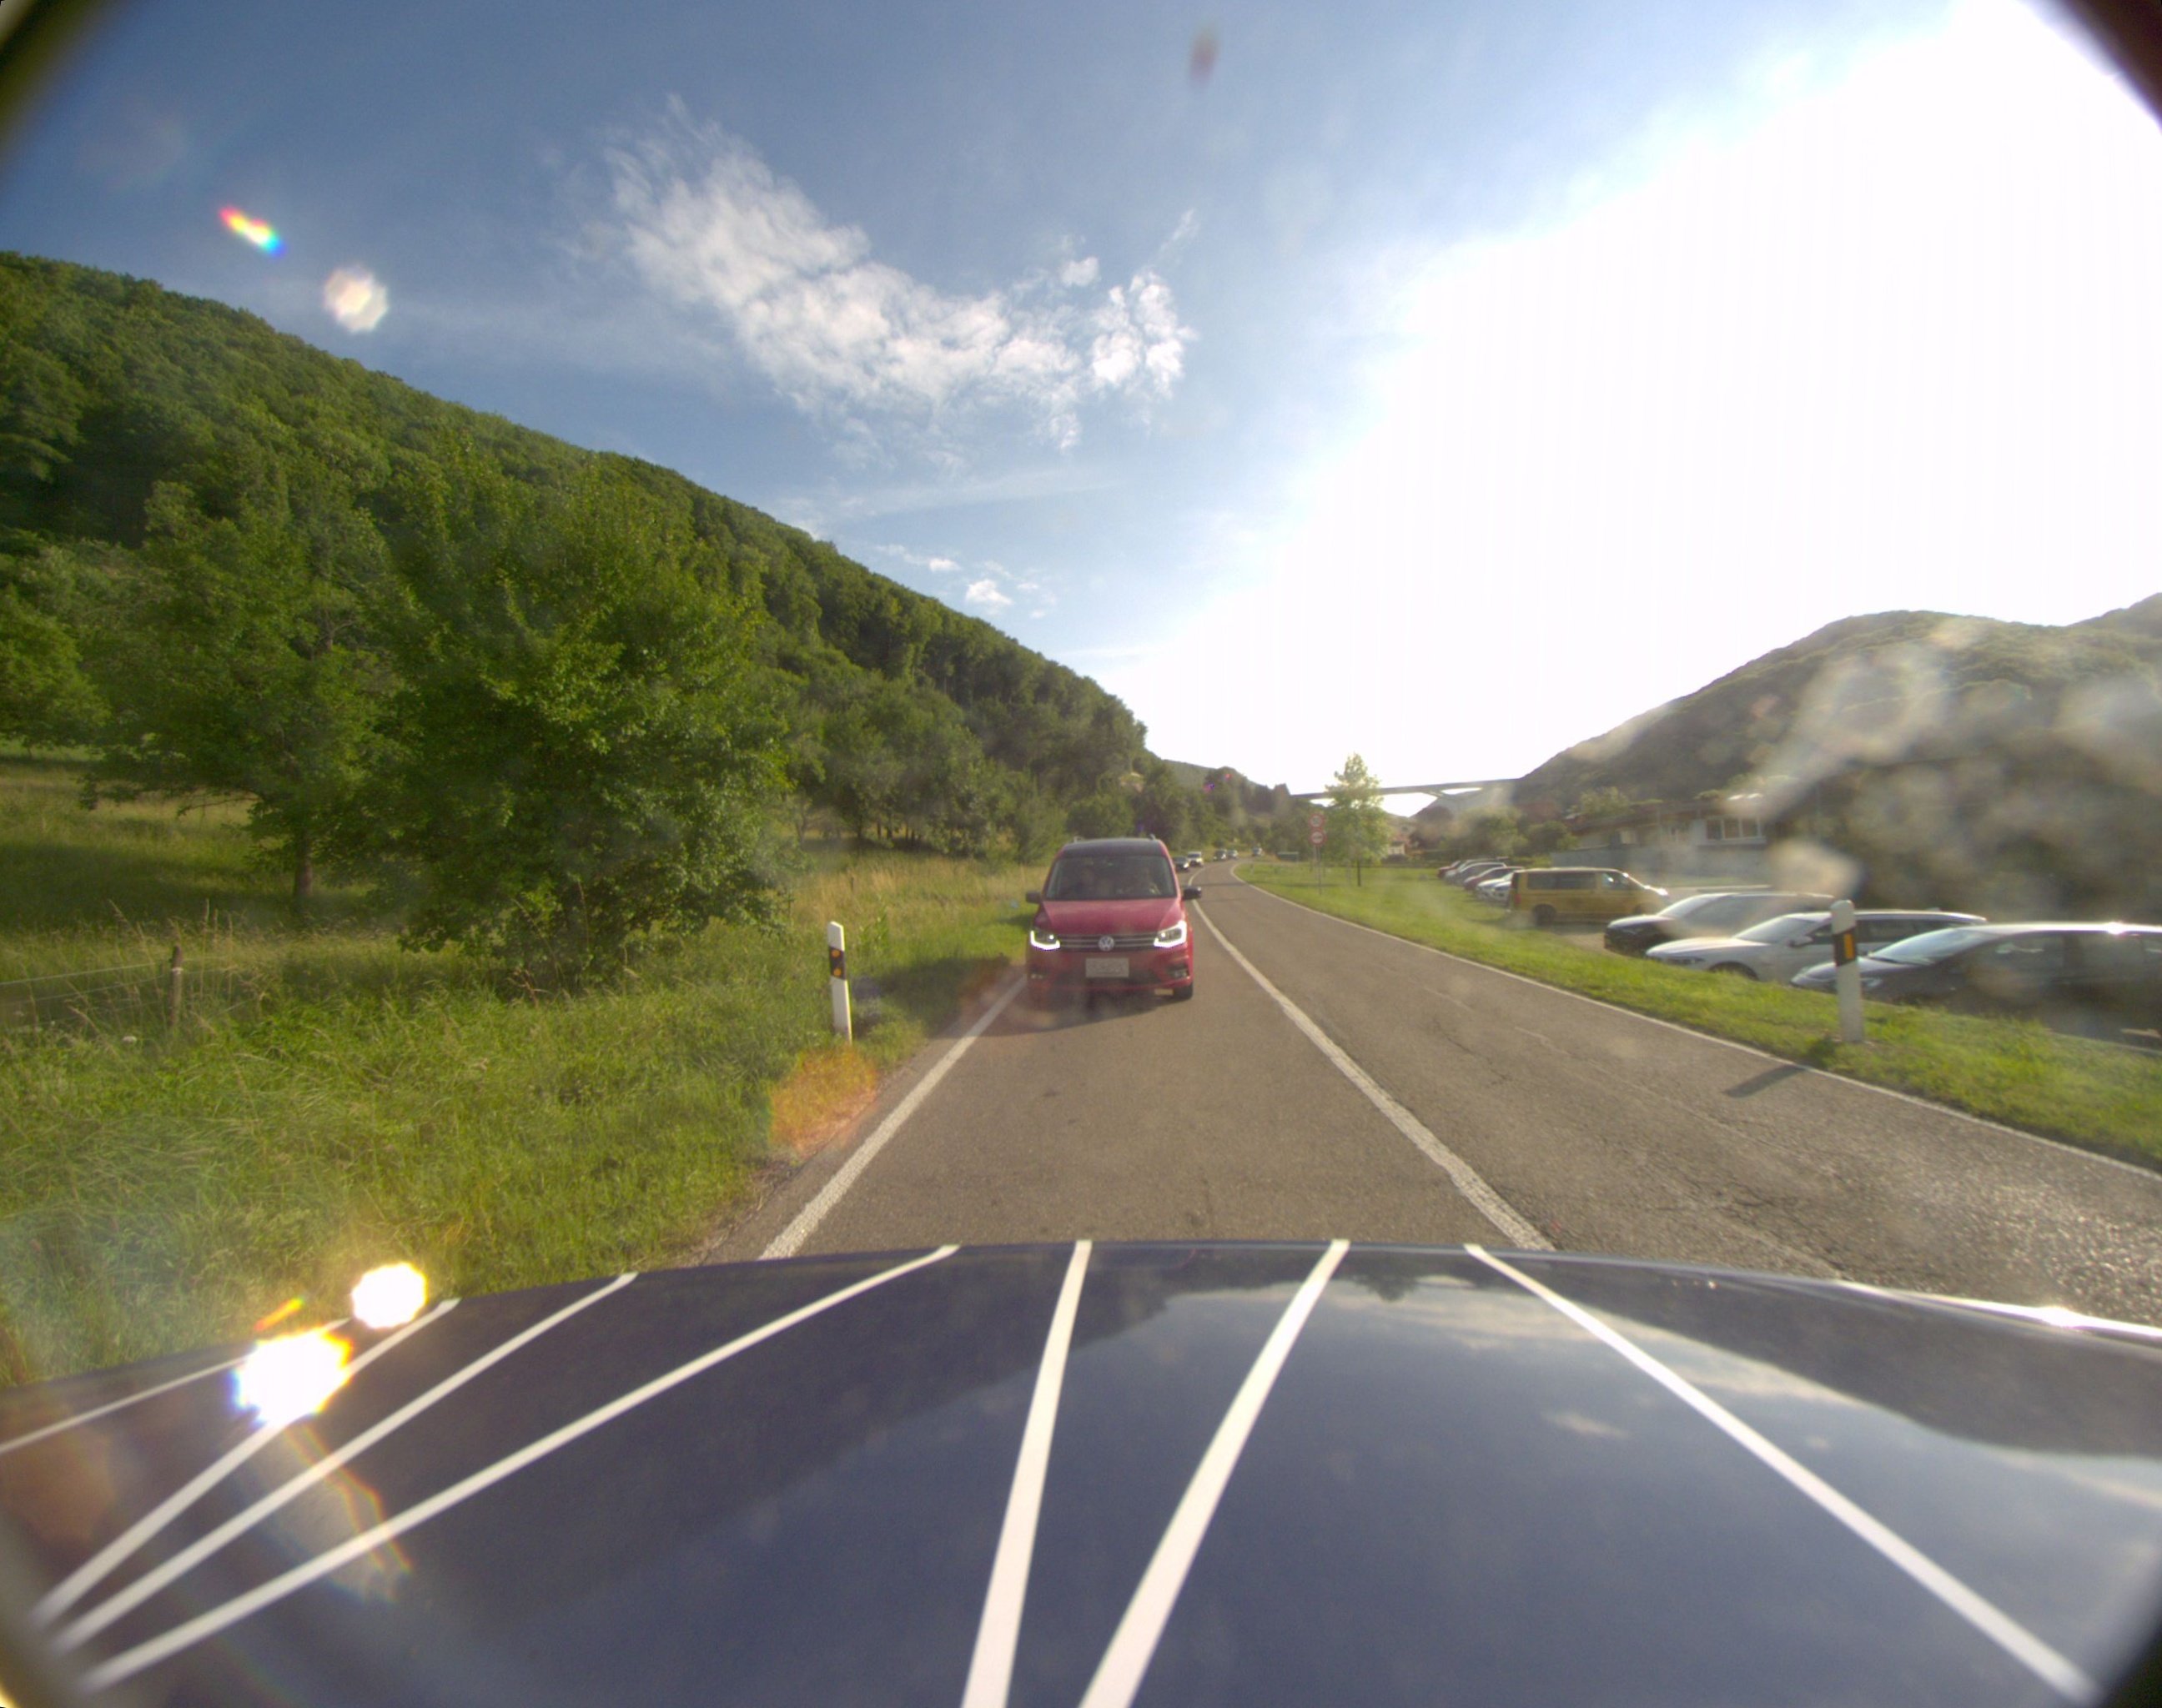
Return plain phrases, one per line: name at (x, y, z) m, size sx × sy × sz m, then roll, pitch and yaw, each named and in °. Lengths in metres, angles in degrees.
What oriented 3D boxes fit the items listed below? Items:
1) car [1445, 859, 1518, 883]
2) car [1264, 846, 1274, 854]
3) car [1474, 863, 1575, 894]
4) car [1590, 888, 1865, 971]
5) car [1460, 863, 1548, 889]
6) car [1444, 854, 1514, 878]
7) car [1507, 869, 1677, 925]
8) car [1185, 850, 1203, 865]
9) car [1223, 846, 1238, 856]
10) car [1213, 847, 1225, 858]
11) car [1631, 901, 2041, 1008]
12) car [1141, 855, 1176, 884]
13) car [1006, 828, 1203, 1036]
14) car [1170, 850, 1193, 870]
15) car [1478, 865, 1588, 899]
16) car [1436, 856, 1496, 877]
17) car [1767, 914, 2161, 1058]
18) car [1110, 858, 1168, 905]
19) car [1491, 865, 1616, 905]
car at (28.952, 1.206, 55.044) m, size 4.437 × 1.573 × 2.003 m, roll -2°, pitch 0°, yaw 22°
car at (43.228, -0.923, 174.693) m, size 1.909 × 1.893 × 4.005 m, roll -2°, pitch 1°, yaw 19°
car at (23.700, 1.325, 40.804) m, size 4.436 × 1.573 × 2.003 m, roll -1°, pitch 0°, yaw 22°
car at (14.376, 1.697, 17.218) m, size 4.288 × 1.628 × 1.915 m, roll -3°, pitch -1°, yaw 18°
car at (25.281, 1.315, 45.595) m, size 4.436 × 1.443 × 2.003 m, roll -1°, pitch 0°, yaw 23°
car at (31.011, 0.951, 59.392) m, size 4.664 × 1.752 × 2.003 m, roll -1°, pitch 0°, yaw 22°
car at (17.799, 1.477, 26.760) m, size 4.652 × 1.802 × 2.003 m, roll -1°, pitch 0°, yaw 23°
car at (13.092, 0.407, 87.709) m, size 1.797 × 1.725 × 4.287 m, roll -2°, pitch -1°, yaw 12°
car at (26.486, -0.479, 134.541) m, size 1.996 × 1.706 × 4.006 m, roll -2°, pitch -1°, yaw 17°
car at (21.560, -0.214, 118.453) m, size 1.677 × 1.637 × 3.349 m, roll -2°, pitch -1°, yaw 13°
car at (12.583, 1.623, 13.112) m, size 4.644 × 1.488 × 1.915 m, roll -1°, pitch 0°, yaw 19°
car at (4.283, 0.828, 42.463) m, size 1.798 × 1.464 × 4.285 m, roll -2°, pitch -1°, yaw 4°
car at (0.365, 0.740, 9.107) m, size 1.746 × 1.848 × 4.350 m, roll -2°, pitch -1°, yaw 4°
car at (8.919, 0.570, 67.129) m, size 1.911 × 1.675 × 4.003 m, roll -2°, pitch -1°, yaw 9°
car at (22.305, 1.369, 37.726) m, size 4.436 × 1.577 × 2.003 m, roll -1°, pitch 0°, yaw 23°
car at (32.606, 1.054, 64.481) m, size 4.436 × 1.709 × 2.003 m, roll -1°, pitch 0°, yaw 22°
car at (12.189, 1.671, 10.236) m, size 3.990 × 1.526 × 1.836 m, roll -1°, pitch 0°, yaw 22°
car at (1.992, 0.898, 26.338) m, size 1.798 × 1.464 × 4.285 m, roll -2°, pitch -1°, yaw 4°
car at (21.229, 1.363, 34.386) m, size 4.544 × 1.691 × 2.003 m, roll -1°, pitch 0°, yaw 23°
